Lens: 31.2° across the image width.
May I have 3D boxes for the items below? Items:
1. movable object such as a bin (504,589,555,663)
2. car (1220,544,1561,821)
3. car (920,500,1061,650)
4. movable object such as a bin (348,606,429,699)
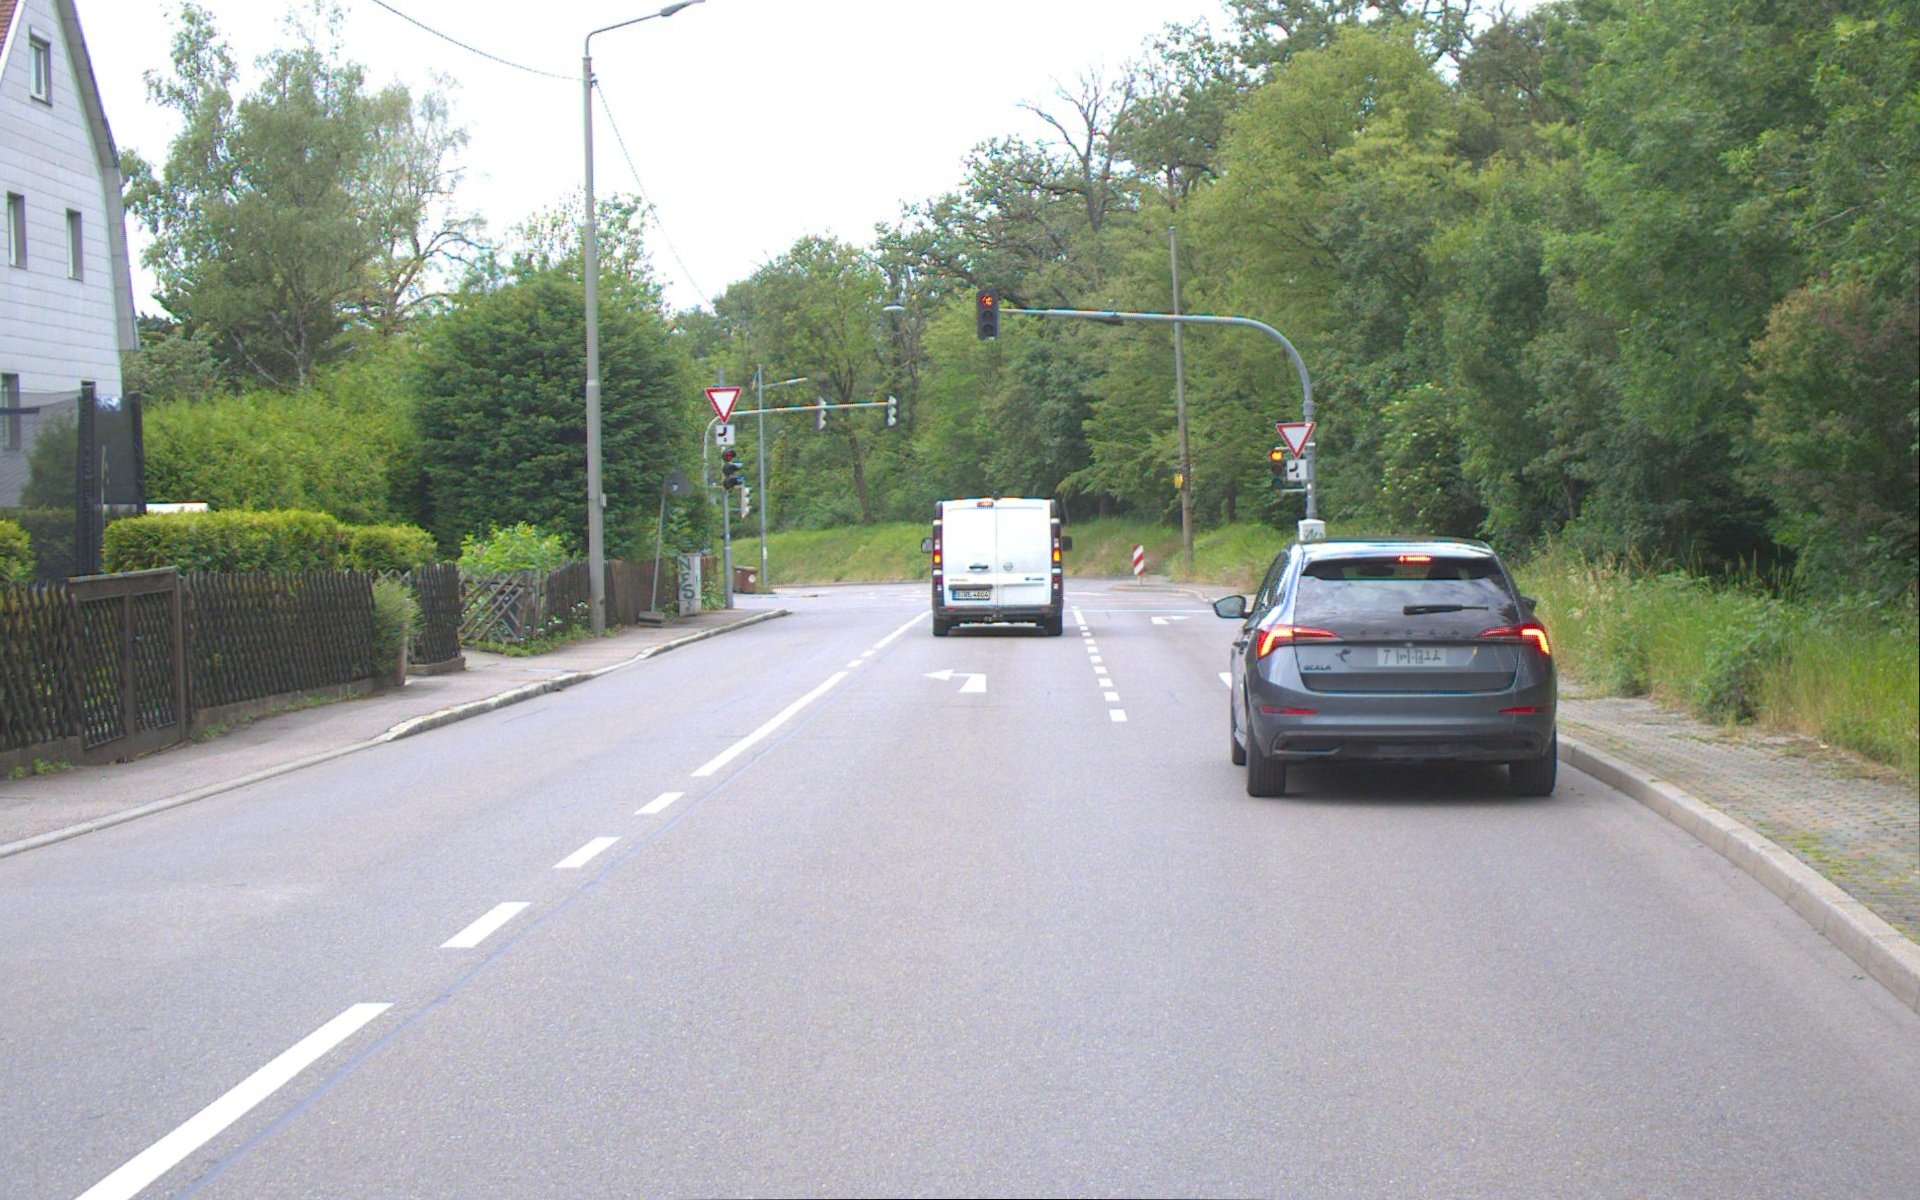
[{"bbox_3d":[-5.593,0.331,44.646,0.550,0.935,0.537,-1,1,3],"label":"movable object such as a bin"},{"bbox_3d":[2.518,0.414,20.447,1.793,1.445,3.999,-1,1,6],"label":"car"},{"bbox_3d":[0.400,-0.389,50.210,1.916,2.046,4.614,-1,1,-1],"label":"car"},{"bbox_3d":[-5.855,0.530,35.252,0.633,0.910,0.560,2,2,14],"label":"movable object such as a bin"}]
